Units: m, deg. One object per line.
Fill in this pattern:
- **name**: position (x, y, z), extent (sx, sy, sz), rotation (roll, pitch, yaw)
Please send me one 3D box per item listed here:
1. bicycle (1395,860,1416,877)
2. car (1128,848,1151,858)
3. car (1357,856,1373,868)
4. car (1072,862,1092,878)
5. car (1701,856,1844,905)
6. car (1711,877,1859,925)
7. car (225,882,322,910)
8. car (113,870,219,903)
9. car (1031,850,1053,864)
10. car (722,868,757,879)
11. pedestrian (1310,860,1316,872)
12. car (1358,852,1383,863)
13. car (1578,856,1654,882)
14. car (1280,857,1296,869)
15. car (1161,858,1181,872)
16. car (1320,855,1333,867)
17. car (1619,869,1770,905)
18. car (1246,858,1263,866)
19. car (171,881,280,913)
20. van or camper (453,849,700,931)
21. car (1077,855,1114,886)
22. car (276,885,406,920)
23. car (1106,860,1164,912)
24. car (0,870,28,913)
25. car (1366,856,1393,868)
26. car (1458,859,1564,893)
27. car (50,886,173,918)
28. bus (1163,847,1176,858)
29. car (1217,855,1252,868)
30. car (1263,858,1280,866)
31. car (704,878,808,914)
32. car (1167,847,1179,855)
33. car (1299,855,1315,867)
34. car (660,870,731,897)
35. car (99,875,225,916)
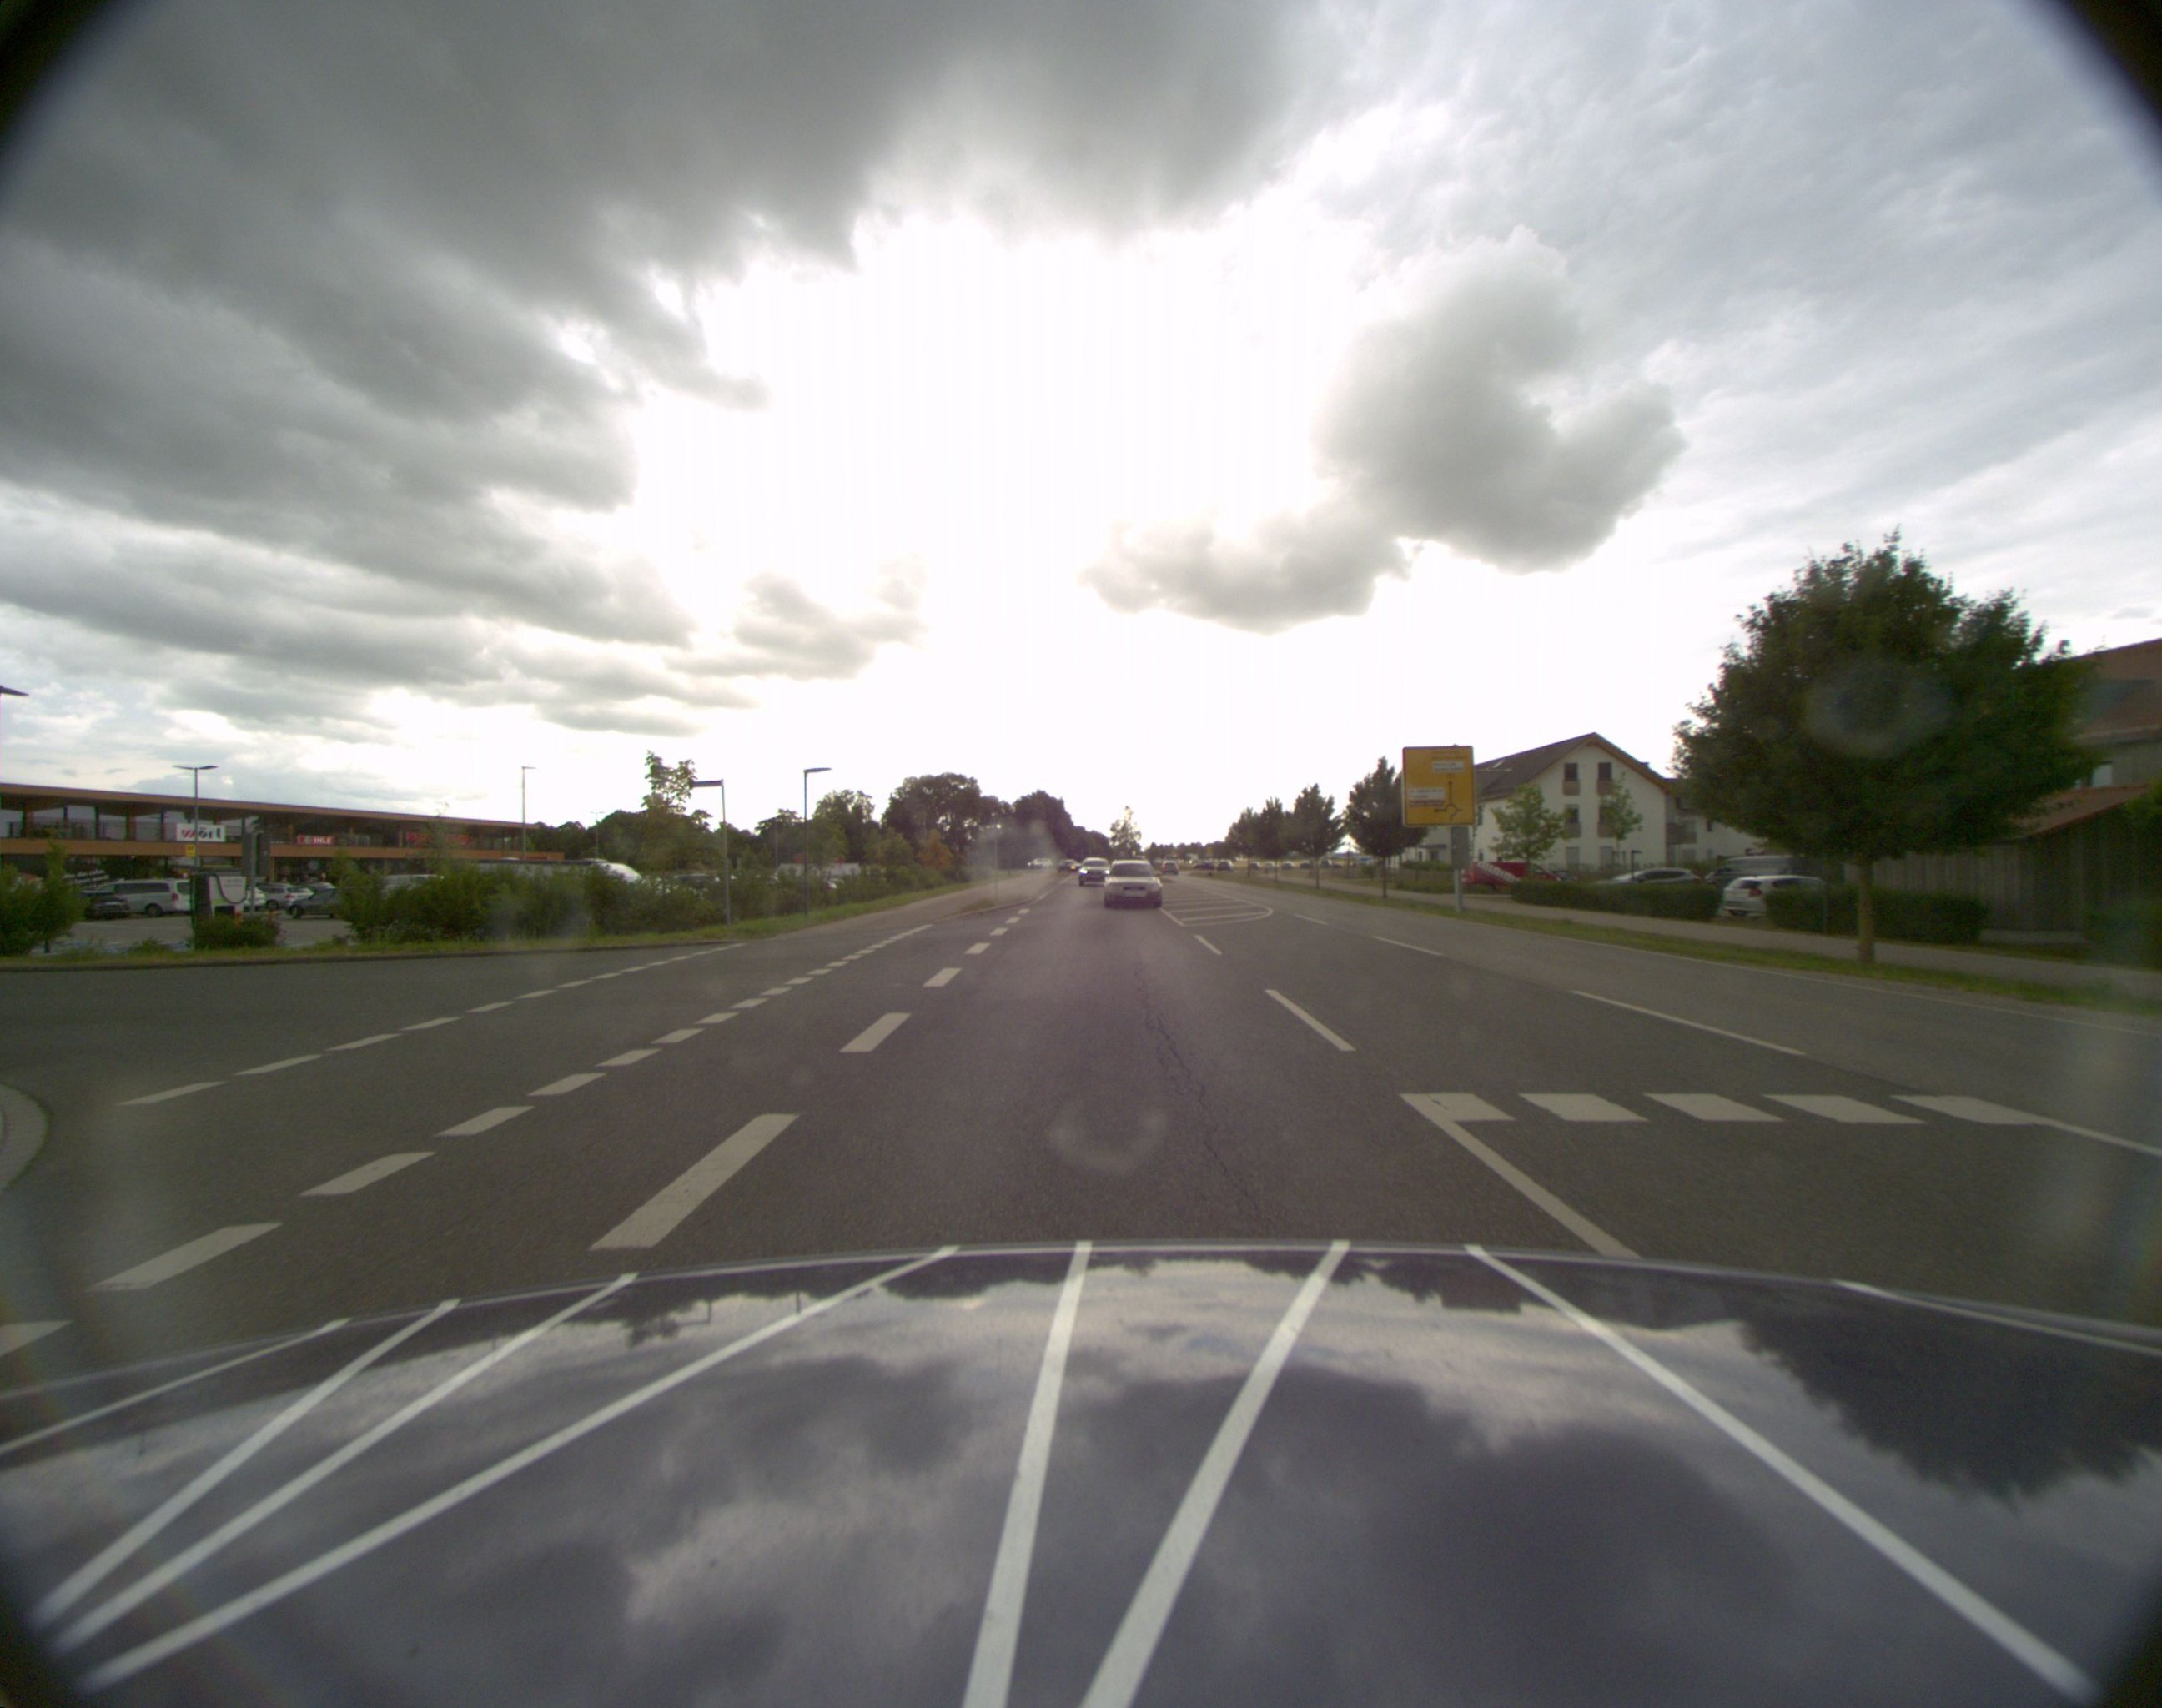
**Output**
- **bicycle**: position (26.708, 1.169, 62.576), extent (0.684, 1.404, 2.344), rotation (1, 0, 1)
- **car**: position (10.181, -0.153, 131.901), extent (1.994, 1.674, 4.009), rotation (1, 0, 38)
- **car**: position (48.272, 1.438, 129.203), extent (1.994, 2.002, 4.008), rotation (1, 0, 29)
- **car**: position (0.088, 1.894, 91.521), extent (2.000, 1.827, 3.998), rotation (1, 0, -6)
- **car**: position (31.749, 1.172, 35.158), extent (1.998, 2.001, 5.202), rotation (-3, -1, 4)
- **car**: position (23.755, 1.572, 25.732), extent (3.523, 1.480, 1.563), rotation (1, 0, 1)
- **car**: position (-47.125, 2.436, 44.391), extent (3.746, 1.469, 1.793), rotation (1, 0, 1)
- **car**: position (-52.248, 1.831, 43.435), extent (3.995, 1.739, 1.946), rotation (1, 0, 5)
- **car**: position (-5.839, 0.466, 114.037), extent (1.996, 2.002, 4.247), rotation (1, 0, 15)
- **car**: position (-45.537, 2.558, 101.272), extent (1.696, 1.352, 4.008), rotation (1, 0, 28)
- **pedestrian**: position (29.818, 1.483, 97.690), extent (0.547, 1.521, 0.586), rotation (-2, 0, 1)
- **car**: position (55.138, 0.737, 144.711), extent (4.001, 2.002, 1.998), rotation (1, 0, -11)
- **car**: position (33.370, 0.910, 47.532), extent (1.998, 1.499, 4.000), rotation (1, 0, 1)
- **car**: position (36.257, 1.509, 132.786), extent (1.995, 2.002, 4.008), rotation (1, 0, 26)
- **car**: position (9.781, 1.169, 82.609), extent (1.774, 1.435, 4.000), rotation (1, 0, 1)
- **car**: position (41.760, 1.155, 129.343), extent (1.996, 2.002, 4.005), rotation (1, 0, 16)
- **car**: position (26.558, 1.411, 33.015), extent (4.917, 1.421, 1.906), rotation (1, 0, 2)
- **car**: position (30.950, 1.428, 135.301), extent (1.995, 1.280, 4.008), rotation (1, 0, 26)
- **car**: position (-47.137, 2.354, 41.923), extent (3.746, 1.598, 2.039), rotation (1, 0, 1)
- **van or camper**: position (-16.307, 1.150, 24.871), extent (6.483, 2.449, 2.281), rotation (1, 0, -1)
- **car**: position (0.892, 0.891, 43.089), extent (1.869, 1.578, 5.063), rotation (-1, 0, 3)
- **car**: position (-34.637, 2.257, 35.672), extent (4.188, 1.424, 1.902), rotation (1, 0, -1)
- **car**: position (1.720, 0.952, 24.258), extent (1.700, 1.457, 4.001), rotation (0, 0, 4)
- **car**: position (-52.702, 1.731, 35.555), extent (4.228, 1.998, 1.851), rotation (1, 0, -1)
- **car**: position (53.798, 1.463, 137.119), extent (4.000, 2.002, 1.999), rotation (1, 0, -8)
- **car**: position (24.636, 1.251, 43.707), extent (4.915, 1.805, 1.907), rotation (1, 0, 6)
- **car**: position (-45.738, 2.254, 35.914), extent (3.470, 1.374, 1.775), rotation (1, 0, -1)
- **bus**: position (26.844, -0.345, 231.205), extent (2.992, 3.261, 6.483), rotation (1, 0, -3)
- **car**: position (20.591, 0.992, 101.983), extent (4.212, 1.573, 1.832), rotation (2, 0, 2)
- **car**: position (33.582, 1.466, 133.781), extent (1.995, 1.280, 4.008), rotation (1, 0, 26)
- **car**: position (-15.785, 2.017, 37.069), extent (4.157, 1.588, 2.080), rotation (1, 0, -1)
- **car**: position (16.927, -0.587, 140.536), extent (1.774, 1.435, 4.000), rotation (1, 0, 1)
- **car**: position (38.997, 1.177, 130.922), extent (1.995, 2.002, 4.008), rotation (1, 0, 26)
- **car**: position (-28.522, 2.177, 56.316), extent (4.269, 1.860, 2.001), rotation (1, 0, 5)
- **car**: position (-46.710, 2.099, 38.698), extent (3.903, 1.900, 2.039), rotation (1, 0, -1)
